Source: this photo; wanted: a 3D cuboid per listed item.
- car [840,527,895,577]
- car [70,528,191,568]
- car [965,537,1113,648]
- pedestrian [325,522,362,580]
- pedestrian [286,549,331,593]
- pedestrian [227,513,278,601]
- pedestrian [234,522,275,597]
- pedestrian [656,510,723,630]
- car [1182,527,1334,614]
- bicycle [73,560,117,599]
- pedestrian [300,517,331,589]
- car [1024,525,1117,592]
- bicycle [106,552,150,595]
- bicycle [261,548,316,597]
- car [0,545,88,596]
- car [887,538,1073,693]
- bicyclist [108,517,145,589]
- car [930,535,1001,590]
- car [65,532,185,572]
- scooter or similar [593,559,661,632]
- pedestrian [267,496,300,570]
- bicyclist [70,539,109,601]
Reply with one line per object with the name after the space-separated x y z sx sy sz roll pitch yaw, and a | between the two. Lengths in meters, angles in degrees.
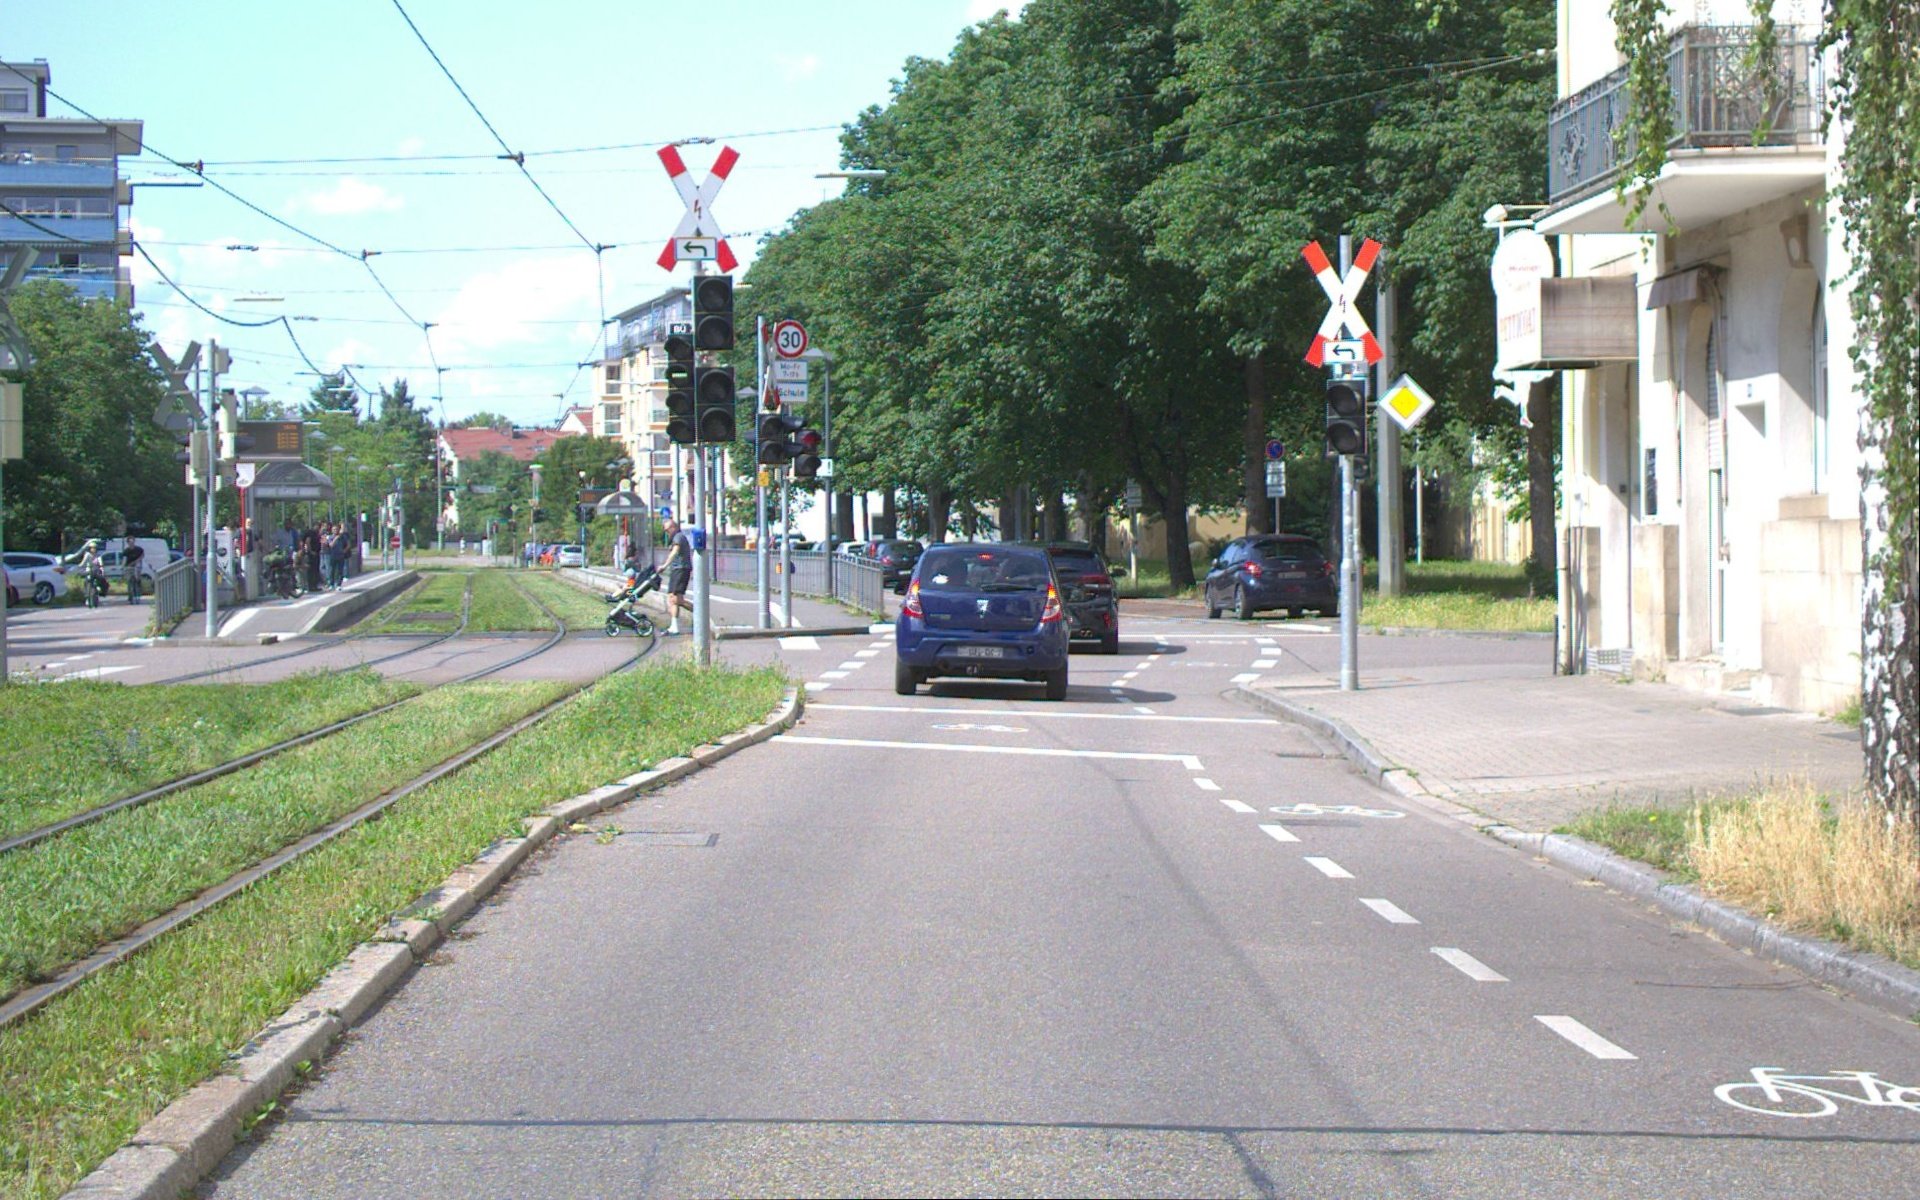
-3.335 -1.749 123.442 1.617 1.744 4.001 -1 1 -7 | car
-30.752 -1.937 127.500 3.989 1.442 1.727 -2 2 -41 | car
1.014 -0.129 45.681 1.700 1.363 3.515 -1 1 -3 | car
-15.306 -1.224 85.326 0.655 1.421 0.562 -1 1 30 | pedestrian
-15.230 -0.683 80.367 0.924 0.985 0.797 -2 0 -6 | pedestrian
-13.922 -0.843 67.648 0.713 1.720 0.666 0 1 35 | pedestrian
-14.904 -0.861 72.672 0.663 1.564 0.686 -2 1 1 | pedestrian
-4.108 -0.460 52.141 0.870 1.769 1.004 -3 1 -8 | pedestrian
5.146 -0.537 59.786 1.765 1.428 3.905 -1 1 -8 | car
-22.480 -0.541 89.383 0.680 0.967 2.179 -1 1 -4 | bicycle
-15.798 -1.148 84.287 0.604 1.760 0.639 0 1 2 | pedestrian
2.561 -0.988 80.256 1.861 1.440 4.001 -2 1 -2 | car
-23.468 -0.755 96.961 1.153 1.174 1.788 -2 1 -14 | bicycle
-14.156 -0.584 72.462 0.686 0.971 1.771 -3 1 3 | bicycle
-26.891 -0.821 97.262 1.715 1.363 3.990 0 2 42 | car
0.190 0.114 34.841 1.768 1.457 3.776 0 1 0 | car
-23.496 -1.321 96.924 0.947 2.007 1.577 -1 1 -15 | bicyclist
0.128 -1.073 96.877 1.851 1.510 4.001 -1 1 -2 | car
-29.692 -1.723 122.283 1.637 1.381 3.991 0 2 38 | car
-5.017 -0.079 51.771 0.954 1.061 0.797 -1 1 -8 | scooter or similar
-15.609 -1.550 79.386 0.655 1.686 0.656 -1 1 -7 | pedestrian
-22.564 -0.778 89.130 0.785 1.576 0.864 -1 1 -4 | bicyclist
